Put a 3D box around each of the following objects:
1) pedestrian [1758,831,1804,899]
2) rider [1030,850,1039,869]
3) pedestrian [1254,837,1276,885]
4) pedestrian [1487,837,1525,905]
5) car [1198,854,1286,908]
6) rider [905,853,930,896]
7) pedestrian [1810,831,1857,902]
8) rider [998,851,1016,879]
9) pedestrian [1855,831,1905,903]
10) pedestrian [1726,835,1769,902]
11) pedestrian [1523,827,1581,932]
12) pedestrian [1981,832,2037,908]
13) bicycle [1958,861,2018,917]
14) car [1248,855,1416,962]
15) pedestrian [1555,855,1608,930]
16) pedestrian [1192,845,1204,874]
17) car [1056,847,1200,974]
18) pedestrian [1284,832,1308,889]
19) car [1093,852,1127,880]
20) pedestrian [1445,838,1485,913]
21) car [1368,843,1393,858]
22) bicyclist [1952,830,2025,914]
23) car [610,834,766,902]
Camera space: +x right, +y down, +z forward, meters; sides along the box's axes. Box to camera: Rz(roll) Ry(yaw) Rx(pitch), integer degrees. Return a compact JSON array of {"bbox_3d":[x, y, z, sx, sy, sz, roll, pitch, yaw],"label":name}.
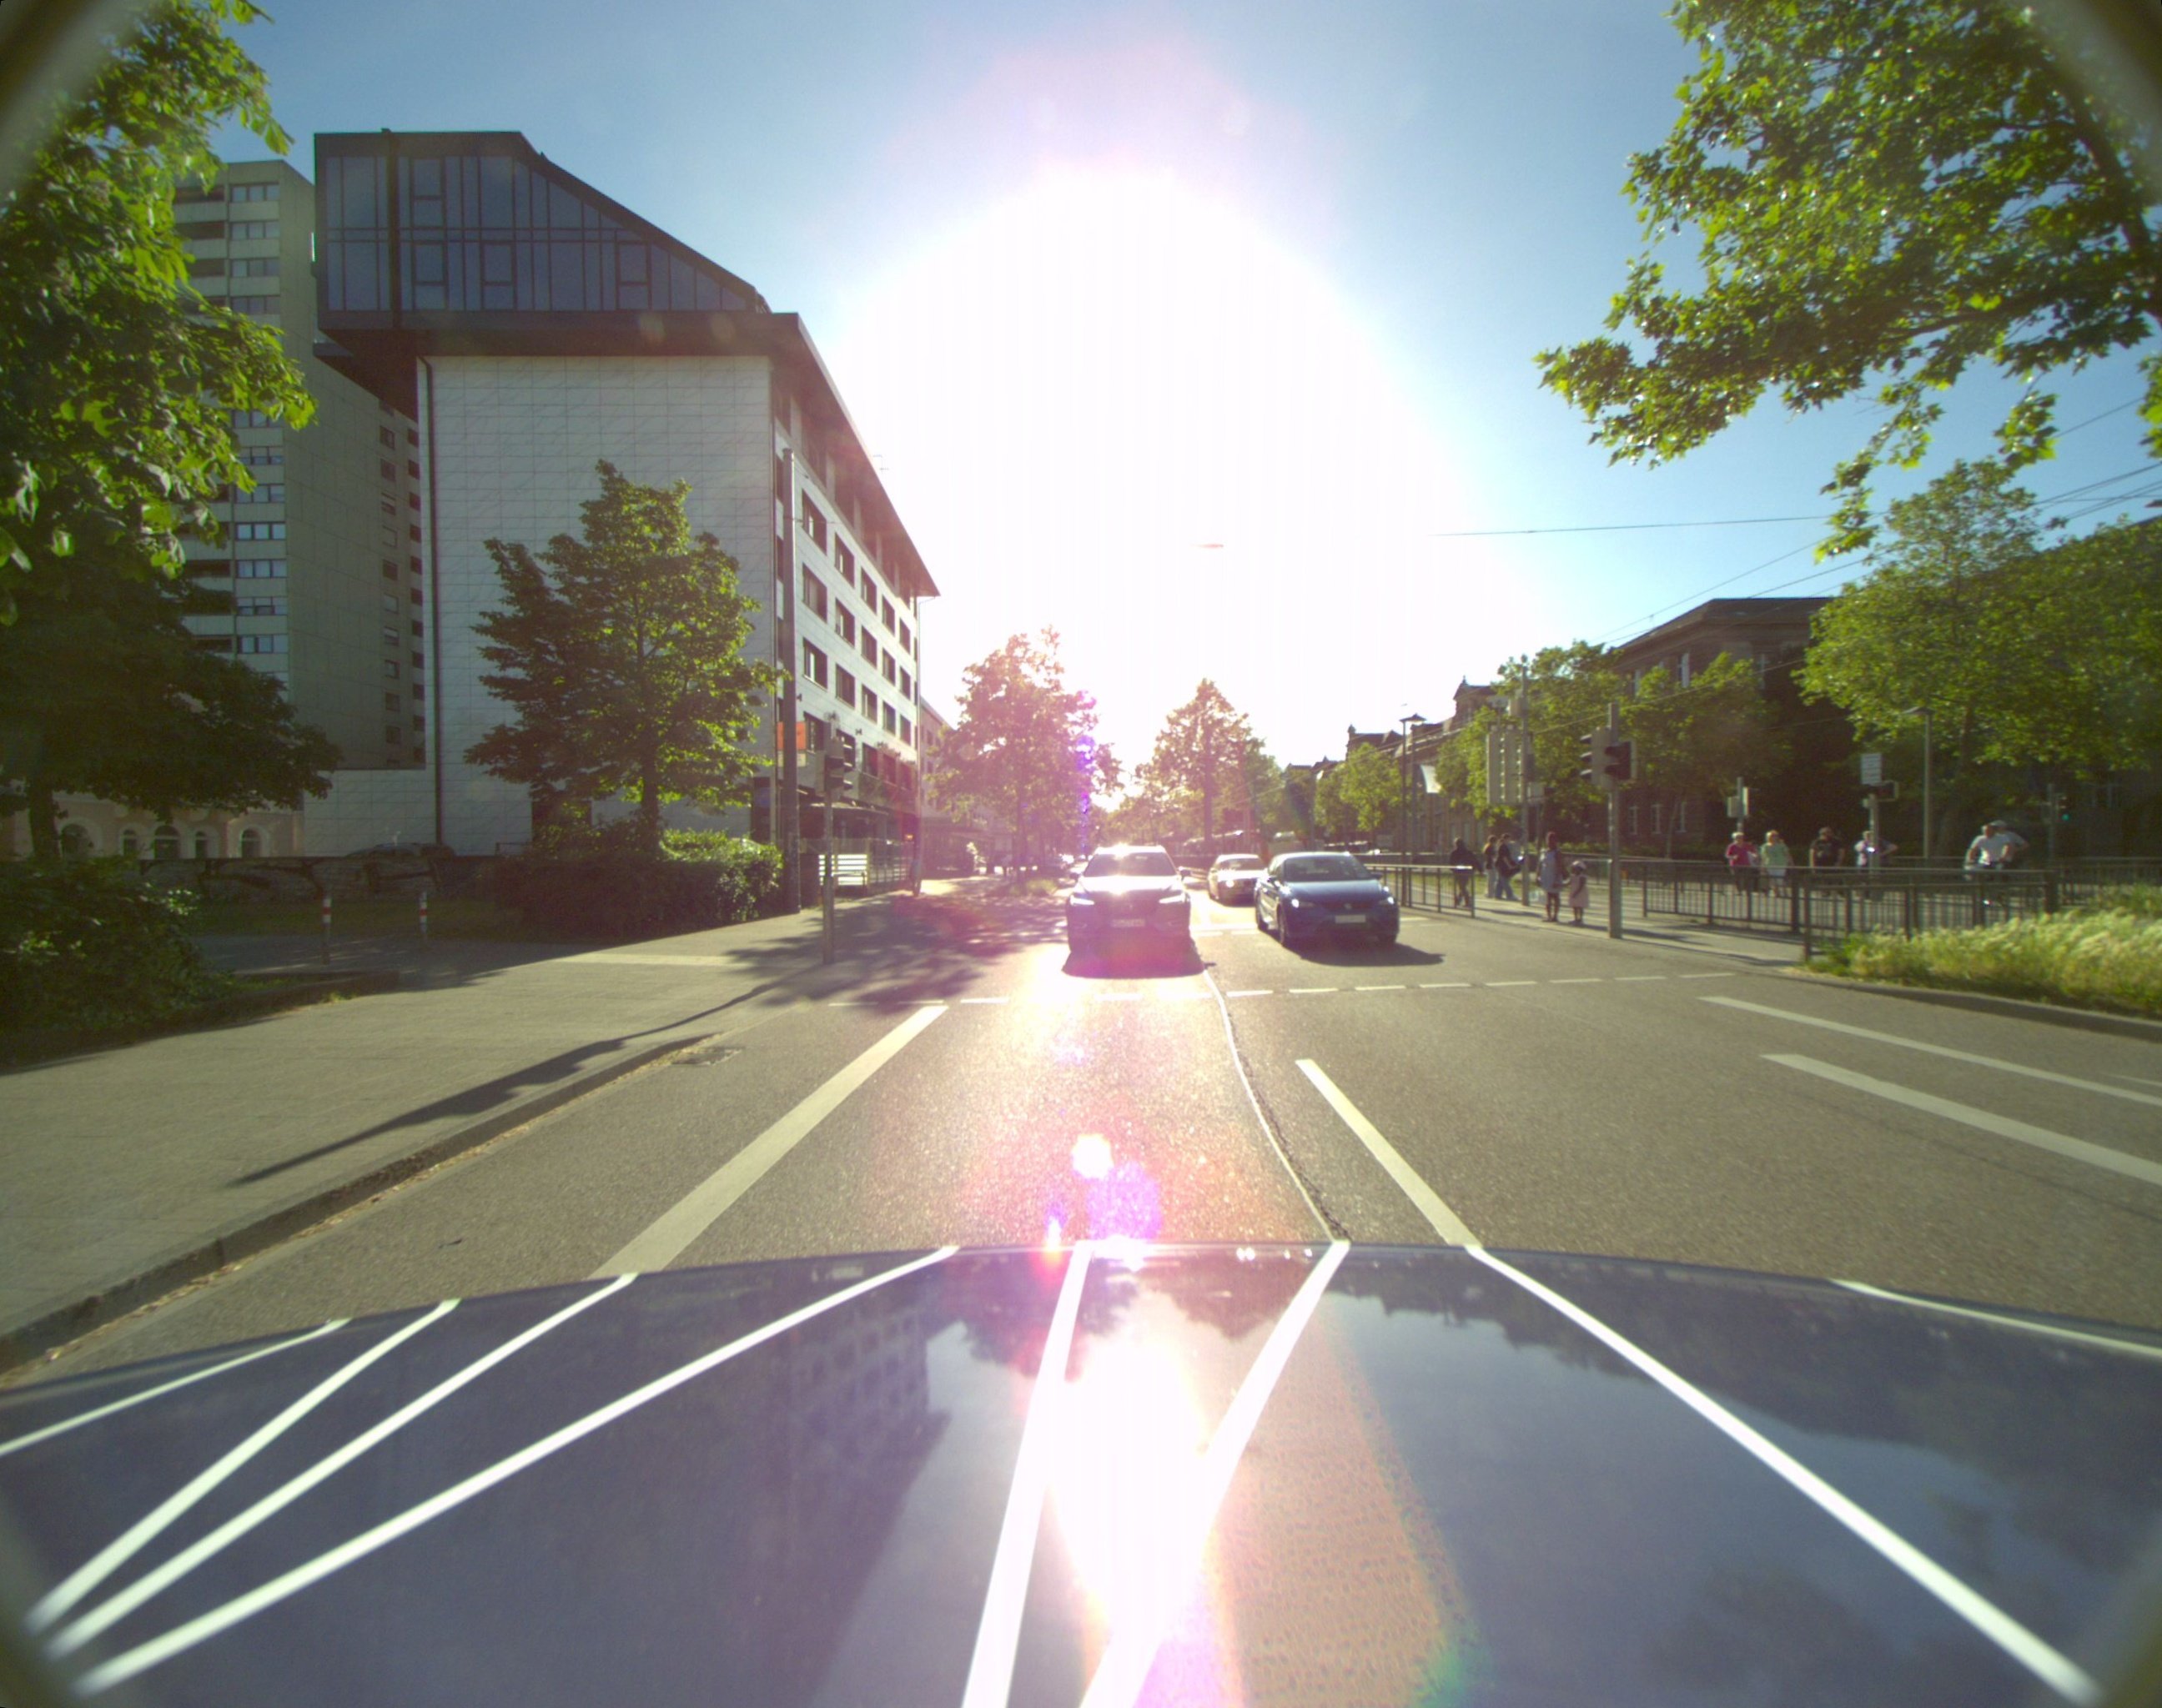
[{"bbox_3d":[17.779,0.269,19.300,0.595,1.667,0.698,-3,1,-33],"label":"pedestrian"},{"bbox_3d":[-4.378,0.511,71.741,0.759,1.717,0.895,-3,1,-2],"label":"rider"},{"bbox_3d":[7.824,0.294,32.314,0.711,2.002,0.787,-3,1,1],"label":"pedestrian"},{"bbox_3d":[10.691,0.423,19.134,0.544,1.652,0.730,-3,1,4],"label":"pedestrian"},{"bbox_3d":[4.834,0.751,23.354,1.799,1.420,3.999,-3,1,0],"label":"car"},{"bbox_3d":[-6.121,0.773,28.472,0.779,1.582,0.789,0,1,-4],"label":"rider"},{"bbox_3d":[19.016,0.311,19.208,0.595,1.726,0.698,-3,1,-33],"label":"pedestrian"},{"bbox_3d":[-4.559,0.678,46.837,0.924,1.668,0.977,-3,1,1],"label":"rider"},{"bbox_3d":[18.692,0.294,17.782,0.595,1.634,0.698,-3,1,-36],"label":"pedestrian"},{"bbox_3d":[17.968,0.387,20.492,0.595,1.735,0.698,-3,1,-33],"label":"pedestrian"},{"bbox_3d":[8.352,0.436,13.486,0.647,1.796,0.504,-3,1,-10],"label":"pedestrian"},{"bbox_3d":[20.361,0.341,16.668,0.595,1.612,0.698,-3,1,-33],"label":"pedestrian"},{"bbox_3d":[18.539,0.684,15.517,1.666,1.035,0.543,-2,1,-31],"label":"bicycle"},{"bbox_3d":[4.016,0.796,12.811,1.777,1.440,3.870,-2,0,5],"label":"car"},{"bbox_3d":[8.531,0.642,12.958,0.594,1.226,0.425,-3,1,-10],"label":"pedestrian"},{"bbox_3d":[8.629,0.425,56.069,0.714,2.103,0.787,-3,1,4],"label":"pedestrian"},{"bbox_3d":[0.585,0.767,13.010,1.949,1.690,5.305,-1,0,-1],"label":"car"},{"bbox_3d":[8.530,0.249,30.158,0.785,2.175,0.801,-2,1,20],"label":"pedestrian"},{"bbox_3d":[1.833,0.693,46.974,1.774,1.567,3.824,-3,1,5],"label":"car"},{"bbox_3d":[8.722,0.484,17.258,0.580,1.652,0.667,-2,1,8],"label":"pedestrian"},{"bbox_3d":[25.278,-0.322,64.187,1.182,1.190,2.458,-3,1,0],"label":"car"},{"bbox_3d":[18.595,0.359,15.570,0.970,1.634,0.833,-3,1,-33],"label":"bicyclist"},{"bbox_3d":[-12.623,0.432,24.608,3.998,2.086,1.999,1,1,-2],"label":"car"}]
